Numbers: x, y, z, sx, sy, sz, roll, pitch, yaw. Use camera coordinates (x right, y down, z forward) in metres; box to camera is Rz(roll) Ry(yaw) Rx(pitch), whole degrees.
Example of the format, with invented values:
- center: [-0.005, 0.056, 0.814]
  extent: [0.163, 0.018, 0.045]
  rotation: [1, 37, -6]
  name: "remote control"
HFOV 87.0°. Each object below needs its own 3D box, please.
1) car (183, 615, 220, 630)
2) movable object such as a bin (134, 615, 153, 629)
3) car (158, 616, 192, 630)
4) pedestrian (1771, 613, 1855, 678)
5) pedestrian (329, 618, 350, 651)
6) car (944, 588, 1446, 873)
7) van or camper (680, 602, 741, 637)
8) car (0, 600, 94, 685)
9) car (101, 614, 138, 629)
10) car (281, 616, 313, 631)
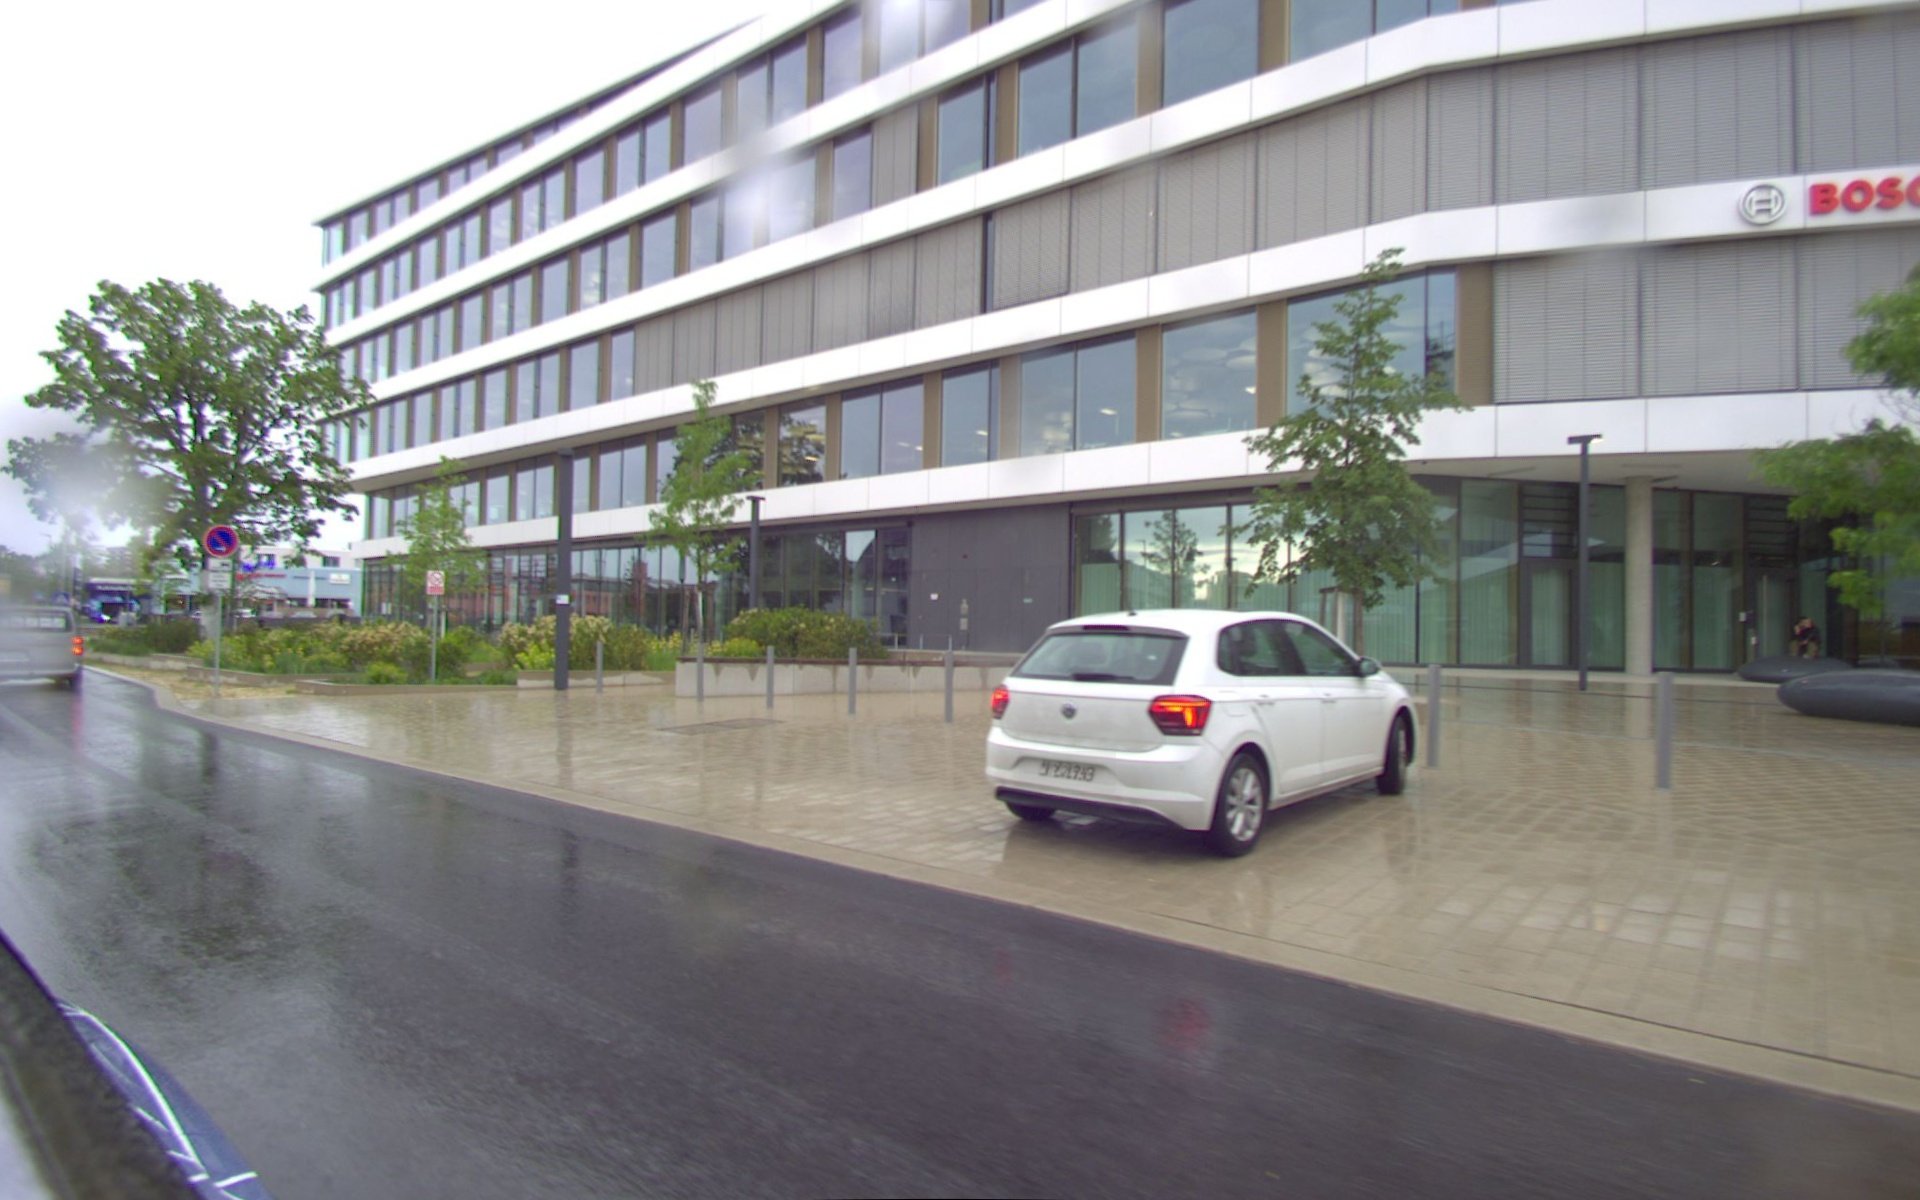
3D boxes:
- center: [-67.746, 1.995, 90.432]
  extent: [1.855, 1.305, 4.013]
  rotation: [-2, 0, -25]
  name: "car"
- center: [-82.833, 2.216, 102.700]
  extent: [1.194, 1.305, 1.483]
  rotation: [-2, 0, -25]
  name: "movable object such as a bin"
- center: [-77.492, 2.223, 99.954]
  extent: [1.855, 1.305, 4.013]
  rotation: [-2, 0, -25]
  name: "car"
- center: [18.118, 0.953, 21.518]
  extent: [1.051, 1.324, 0.895]
  rotation: [0, 2, 14]
  name: "pedestrian"
- center: [-33.980, 1.885, 55.438]
  extent: [0.957, 1.716, 0.716]
  rotation: [1, 2, 44]
  name: "pedestrian"
- center: [1.883, 0.725, 7.224]
  extent: [1.897, 1.434, 3.886]
  rotation: [-1, -2, 41]
  name: "car"
- center: [-22.941, 1.754, 93.162]
  extent: [5.014, 3.111, 2.006]
  rotation: [-1, -1, -28]
  name: "van or camper"
- center: [-22.123, 0.968, 23.803]
  extent: [4.977, 1.832, 1.982]
  rotation: [-1, -2, 42]
  name: "car"
- center: [-88.460, 2.277, 106.568]
  extent: [1.888, 1.541, 4.013]
  rotation: [-1, -1, -23]
  name: "car"
- center: [-61.465, 2.182, 93.854]
  extent: [1.855, 1.305, 4.013]
  rotation: [-2, 0, -25]
  name: "car"
